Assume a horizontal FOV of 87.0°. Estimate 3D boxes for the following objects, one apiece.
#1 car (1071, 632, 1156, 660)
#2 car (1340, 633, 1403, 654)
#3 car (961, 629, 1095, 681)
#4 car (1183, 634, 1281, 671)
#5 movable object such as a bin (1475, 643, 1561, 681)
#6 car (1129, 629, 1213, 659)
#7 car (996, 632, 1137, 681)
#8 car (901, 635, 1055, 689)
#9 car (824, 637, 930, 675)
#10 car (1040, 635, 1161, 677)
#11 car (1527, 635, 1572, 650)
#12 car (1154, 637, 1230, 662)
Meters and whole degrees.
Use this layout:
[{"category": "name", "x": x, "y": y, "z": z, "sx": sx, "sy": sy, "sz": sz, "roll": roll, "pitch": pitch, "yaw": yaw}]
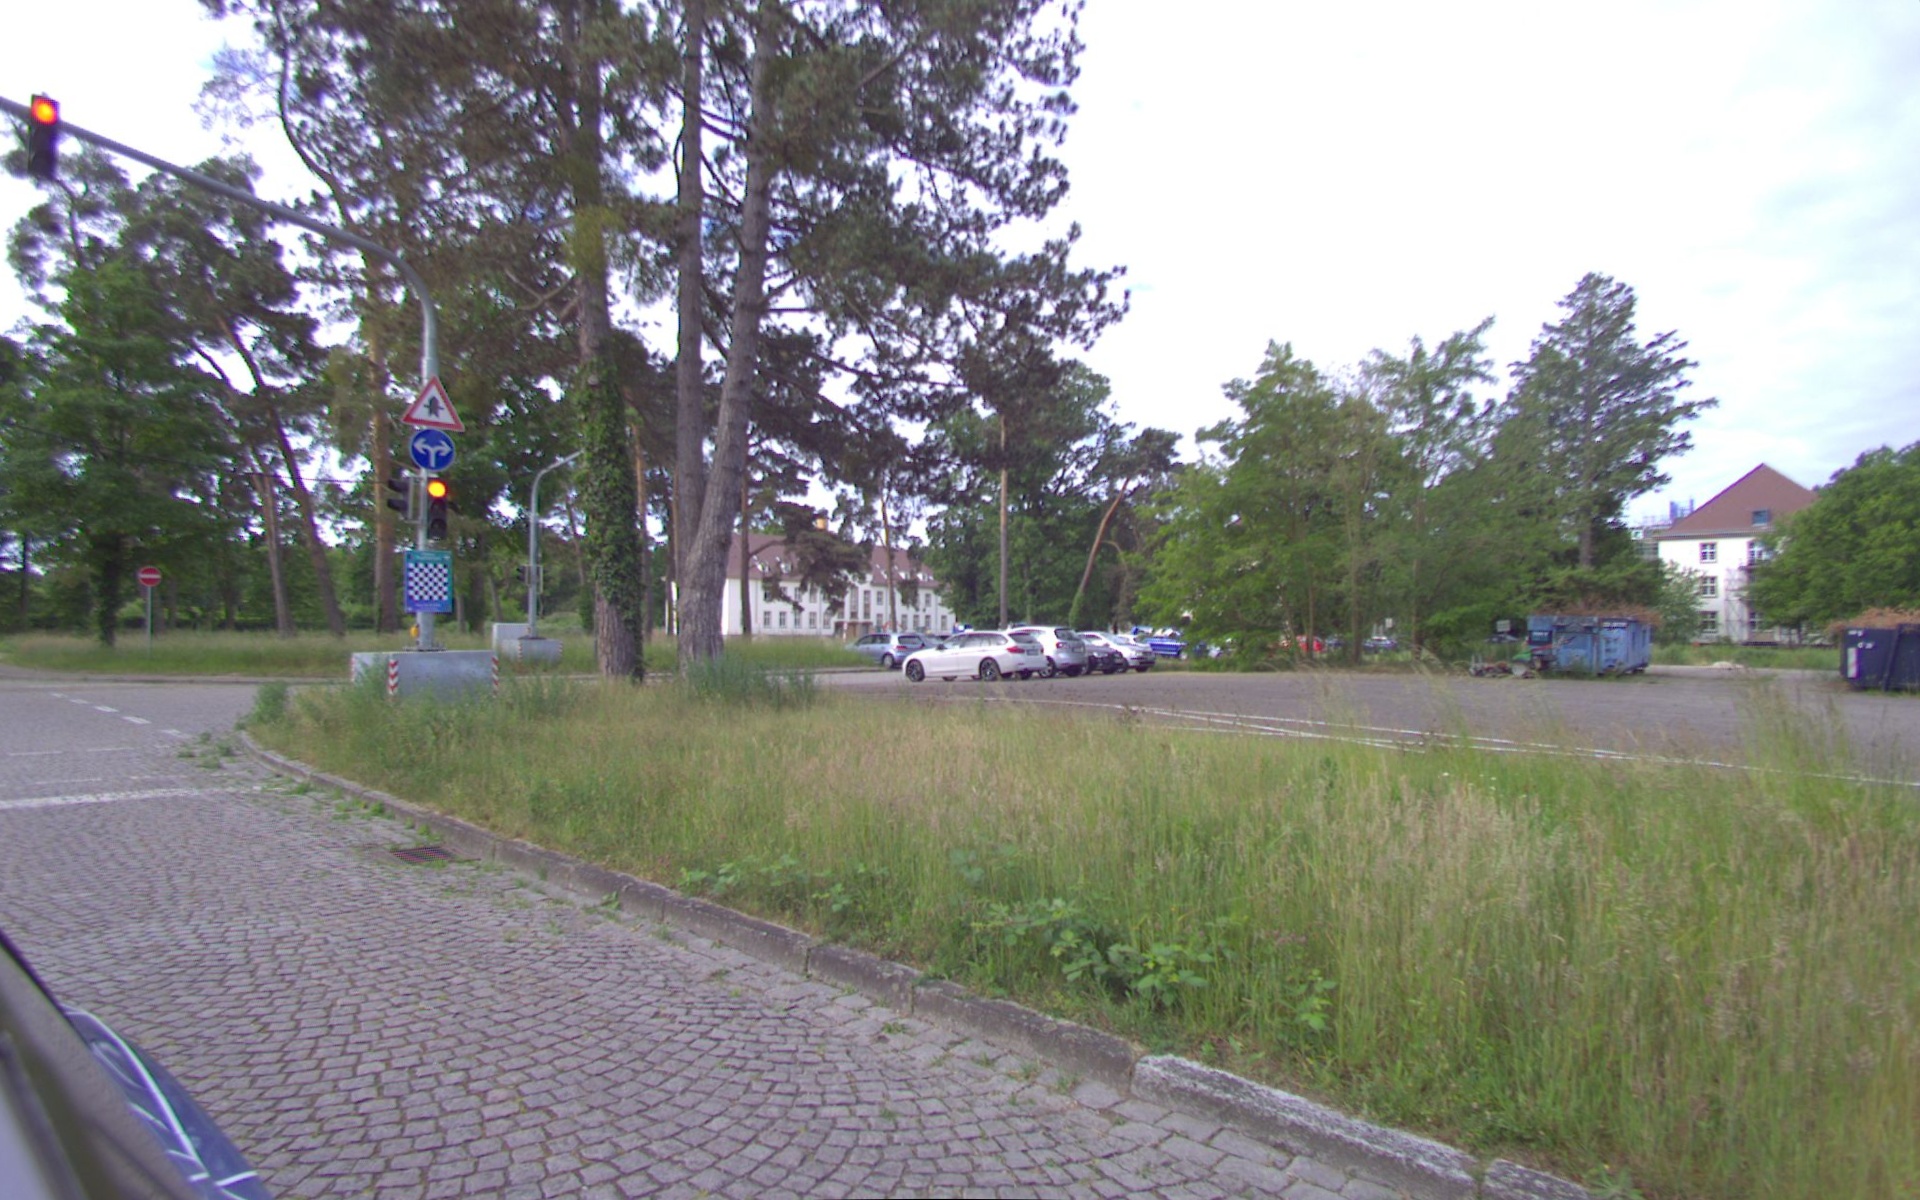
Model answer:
[{"category": "car", "x": 8.472, "y": 2.526, "z": 56.033, "sx": 4.395, "sy": 1.486, "sz": 1.807, "roll": -1, "pitch": -2, "yaw": 37}, {"category": "car", "x": 34.547, "y": 3.649, "z": 85.064, "sx": 1.801, "sy": 1.736, "sz": 4.589, "roll": 2, "pitch": -3, "yaw": -40}, {"category": "car", "x": 2.066, "y": 1.719, "z": 31.290, "sx": 3.895, "sy": 1.532, "sz": 1.653, "roll": -4, "pitch": -4, "yaw": 39}, {"category": "car", "x": 11.265, "y": 2.153, "z": 42.058, "sx": 3.589, "sy": 1.486, "sz": 1.658, "roll": -1, "pitch": -2, "yaw": 39}, {"category": "movable object such as a bin", "x": 15.489, "y": 1.694, "z": 28.078, "sx": 1.953, "sy": 0.976, "sz": 1.431, "roll": -1, "pitch": -2, "yaw": 35}, {"category": "car", "x": 12.386, "y": 2.557, "z": 59.512, "sx": 4.580, "sy": 1.736, "sz": 1.805, "roll": -2, "pitch": -3, "yaw": 42}, {"category": "car", "x": 3.482, "y": 1.824, "z": 33.530, "sx": 4.398, "sy": 1.486, "sz": 1.806, "roll": -1, "pitch": -2, "yaw": 39}, {"category": "car", "x": 0.471, "y": 1.737, "z": 29.395, "sx": 4.316, "sy": 1.436, "sz": 1.806, "roll": -1, "pitch": -2, "yaw": 39}, {"category": "car", "x": -3.498, "y": 2.284, "z": 42.323, "sx": 4.398, "sy": 1.486, "sz": 1.806, "roll": -1, "pitch": -2, "yaw": 39}, {"category": "car", "x": 4.941, "y": 1.947, "z": 35.924, "sx": 4.033, "sy": 1.410, "sz": 1.616, "roll": -1, "pitch": -2, "yaw": 39}, {"category": "car", "x": 69.044, "y": 4.969, "z": 118.598, "sx": 4.290, "sy": 1.735, "sz": 1.805, "roll": -2, "pitch": 0, "yaw": 43}, {"category": "car", "x": 14.036, "y": 2.971, "z": 61.399, "sx": 4.188, "sy": 1.486, "sz": 1.805, "roll": -2, "pitch": -3, "yaw": 42}]
